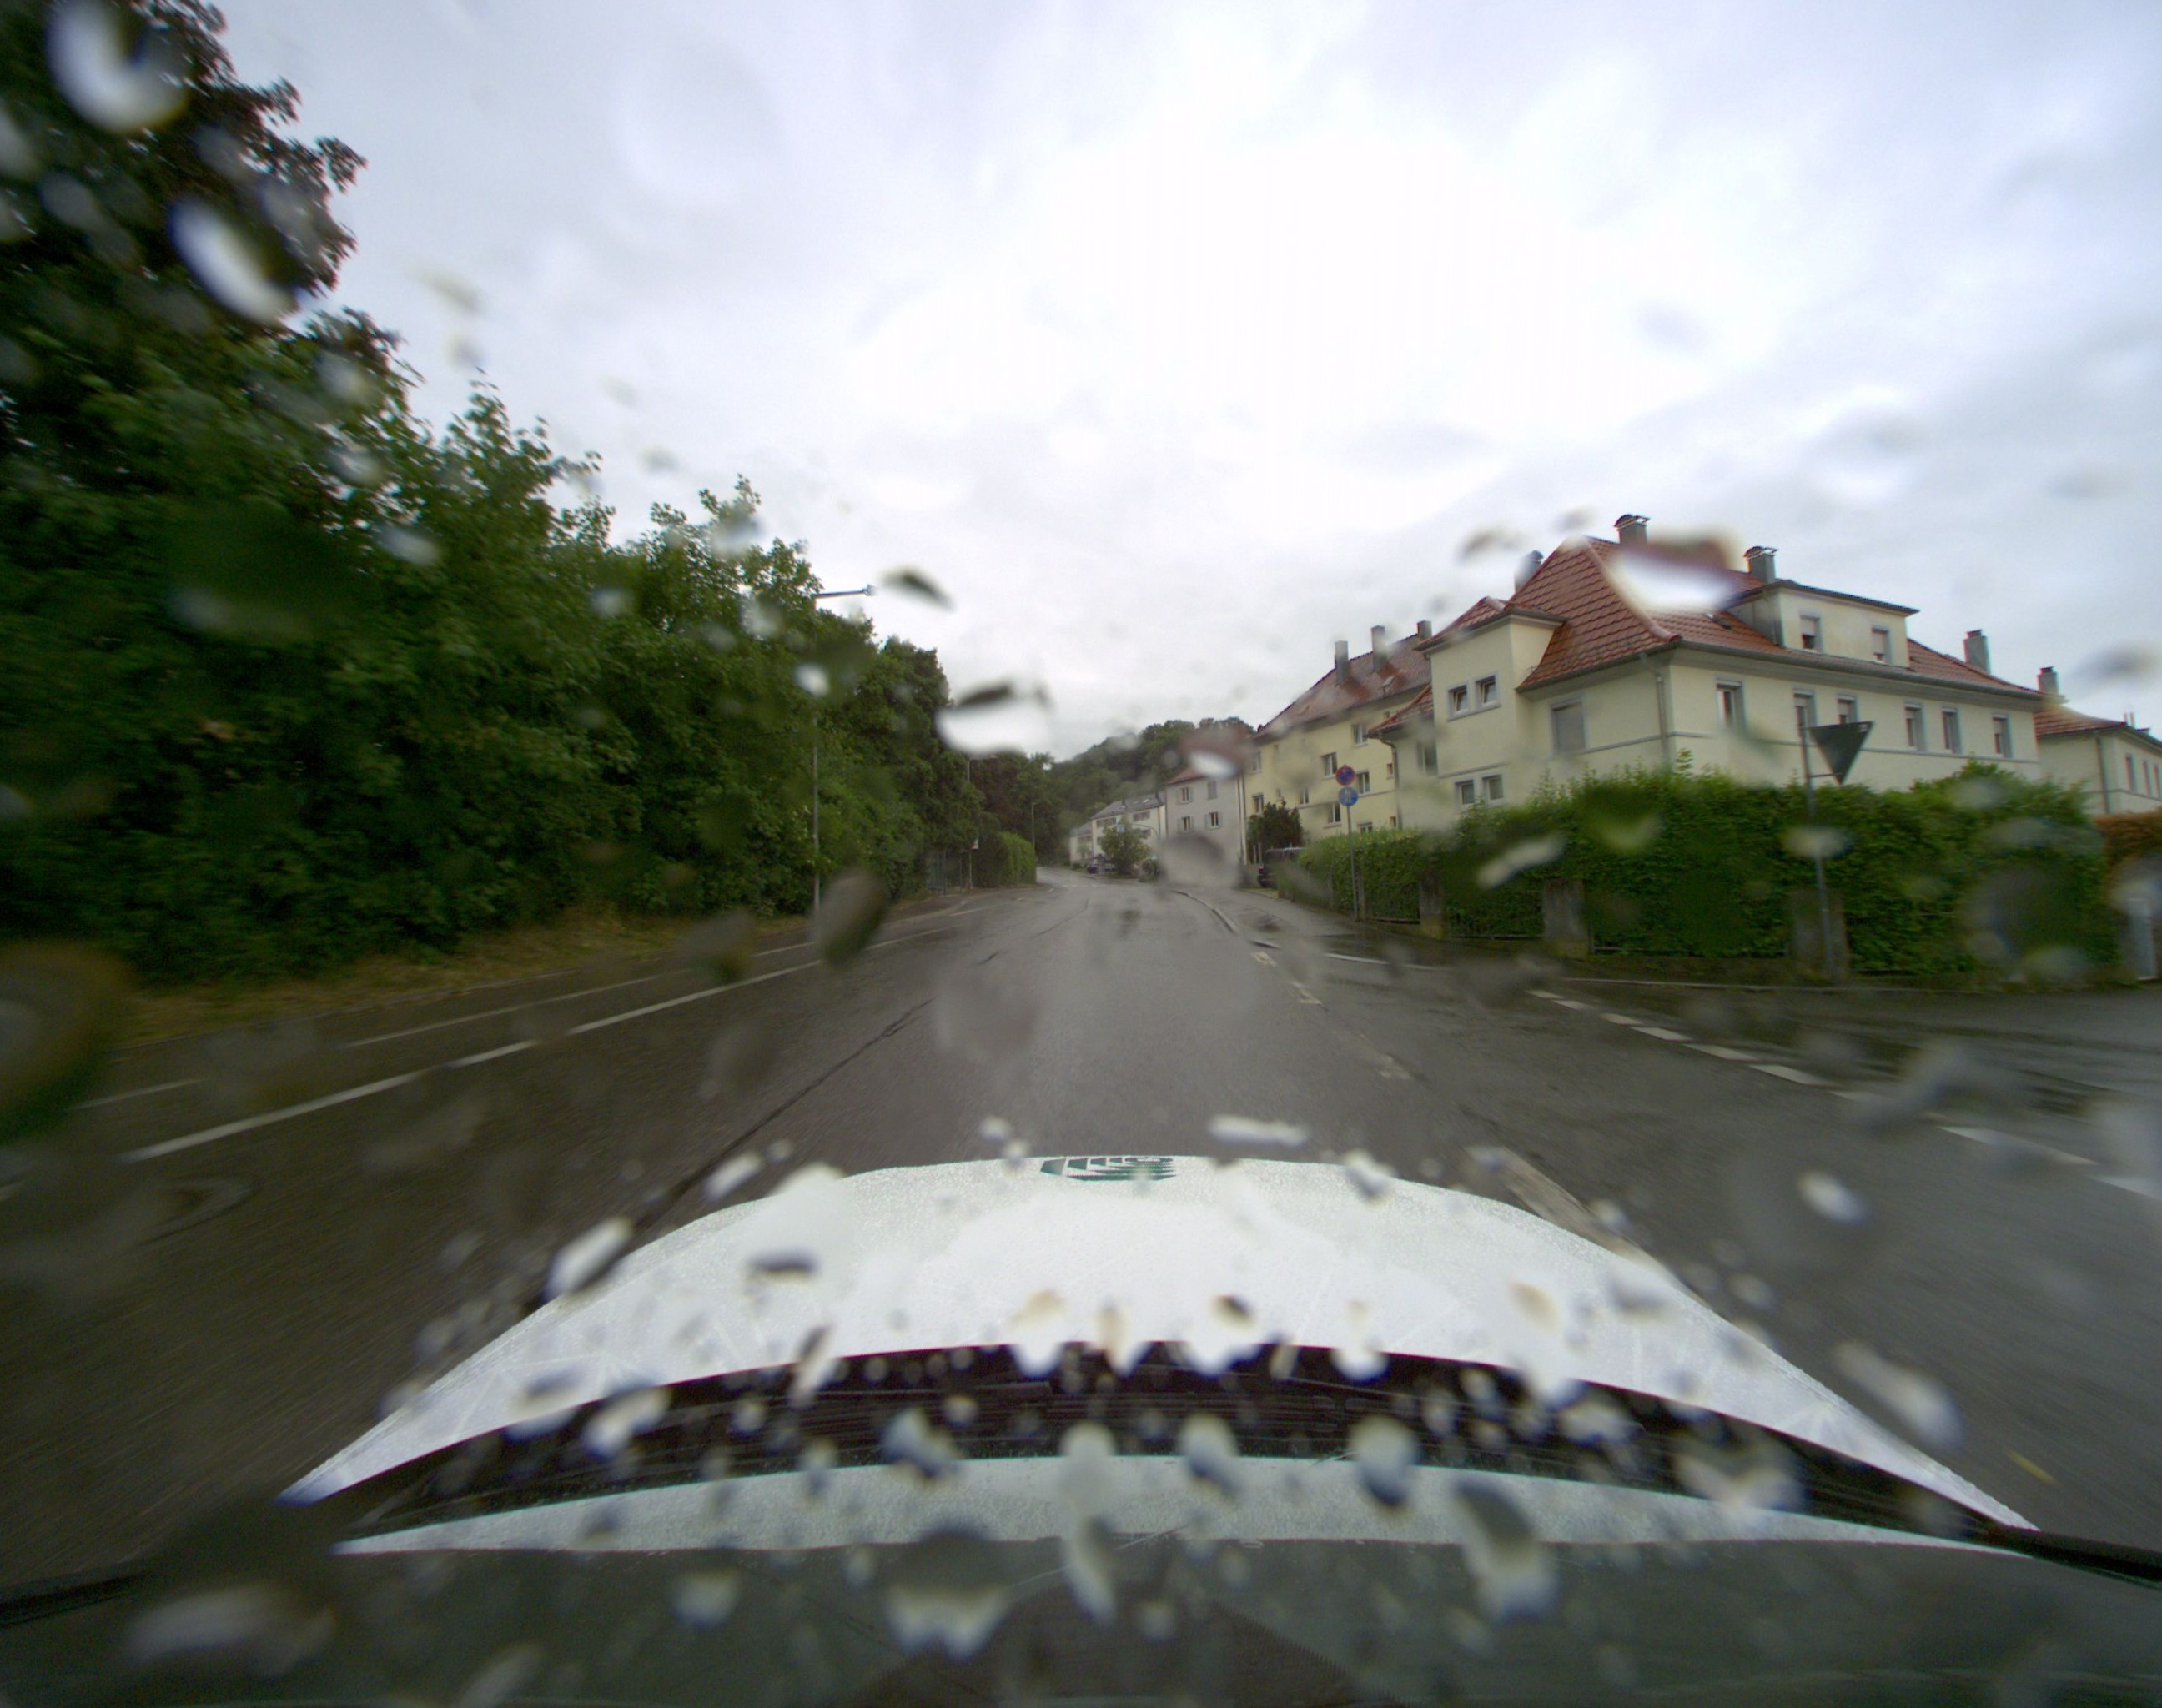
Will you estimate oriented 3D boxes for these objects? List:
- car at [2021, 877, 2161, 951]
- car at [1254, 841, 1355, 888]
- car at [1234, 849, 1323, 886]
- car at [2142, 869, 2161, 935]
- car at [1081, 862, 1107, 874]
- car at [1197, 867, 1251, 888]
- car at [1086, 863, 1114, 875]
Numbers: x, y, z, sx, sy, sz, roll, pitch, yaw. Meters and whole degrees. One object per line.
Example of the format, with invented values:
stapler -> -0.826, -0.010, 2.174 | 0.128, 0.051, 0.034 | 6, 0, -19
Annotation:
car -> 21.873, 1.176, 16.105 | 3.948, 1.420, 2.012 | -2, -3, 38
car -> 10.123, 0.525, 36.954 | 3.995, 2.014, 1.989 | 1, -3, -16
car -> 10.089, 0.724, 41.663 | 3.995, 1.772, 1.989 | 1, -3, -16
car -> 27.456, 1.108, 18.314 | 3.948, 1.574, 2.012 | -2, -3, 38
car -> 2.069, 2.223, 130.622 | 3.983, 1.772, 1.995 | 1, -3, -7
car -> 11.918, 1.977, 67.768 | 3.995, 1.618, 1.989 | 1, -3, -16
car -> 2.884, 2.292, 124.096 | 3.983, 1.772, 1.995 | 1, -3, -7
